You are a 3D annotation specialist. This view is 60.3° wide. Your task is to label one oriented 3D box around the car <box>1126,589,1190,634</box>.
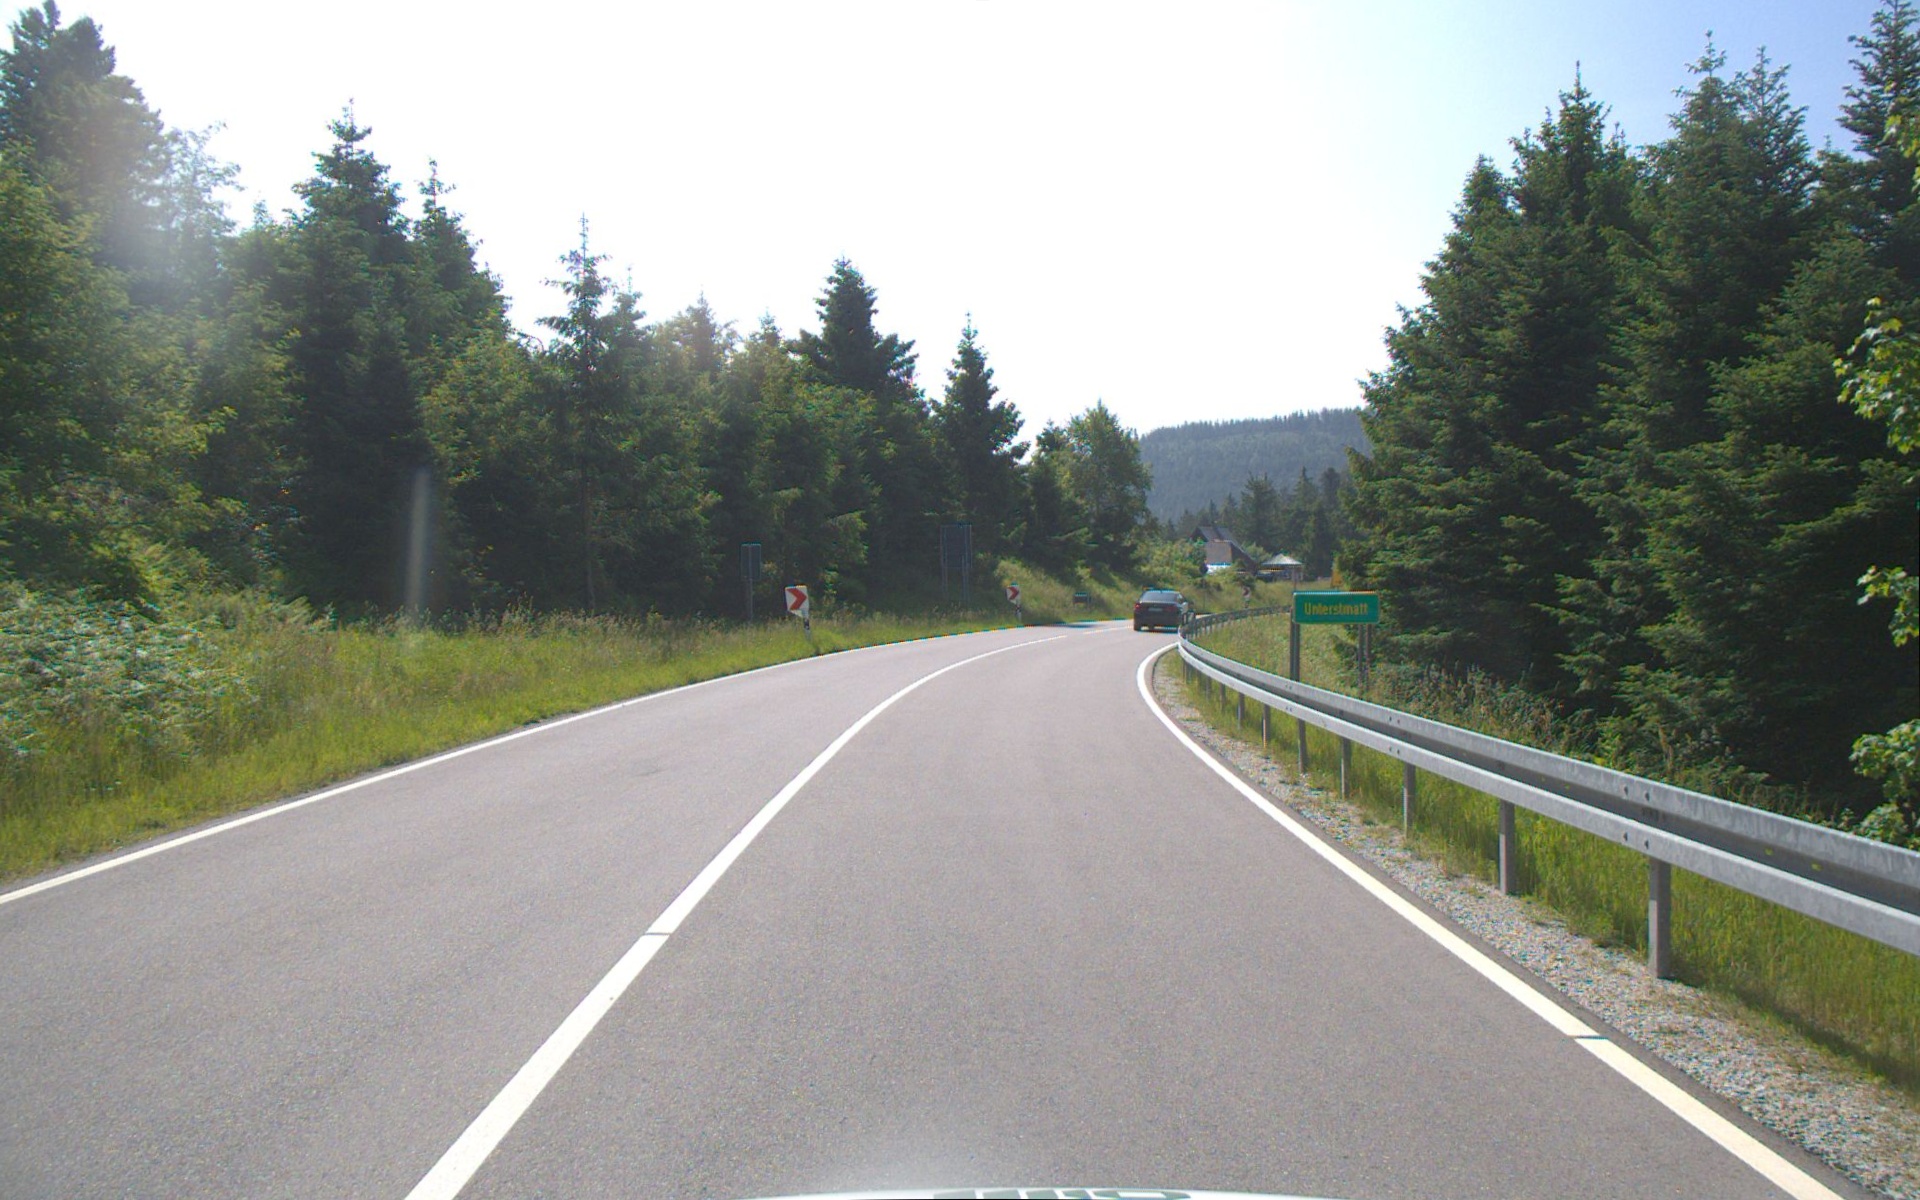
[{"bbox_3d":[7.082,0.383,58.919,1.738,1.467,3.712,1,1,15],"label":"car"}]
